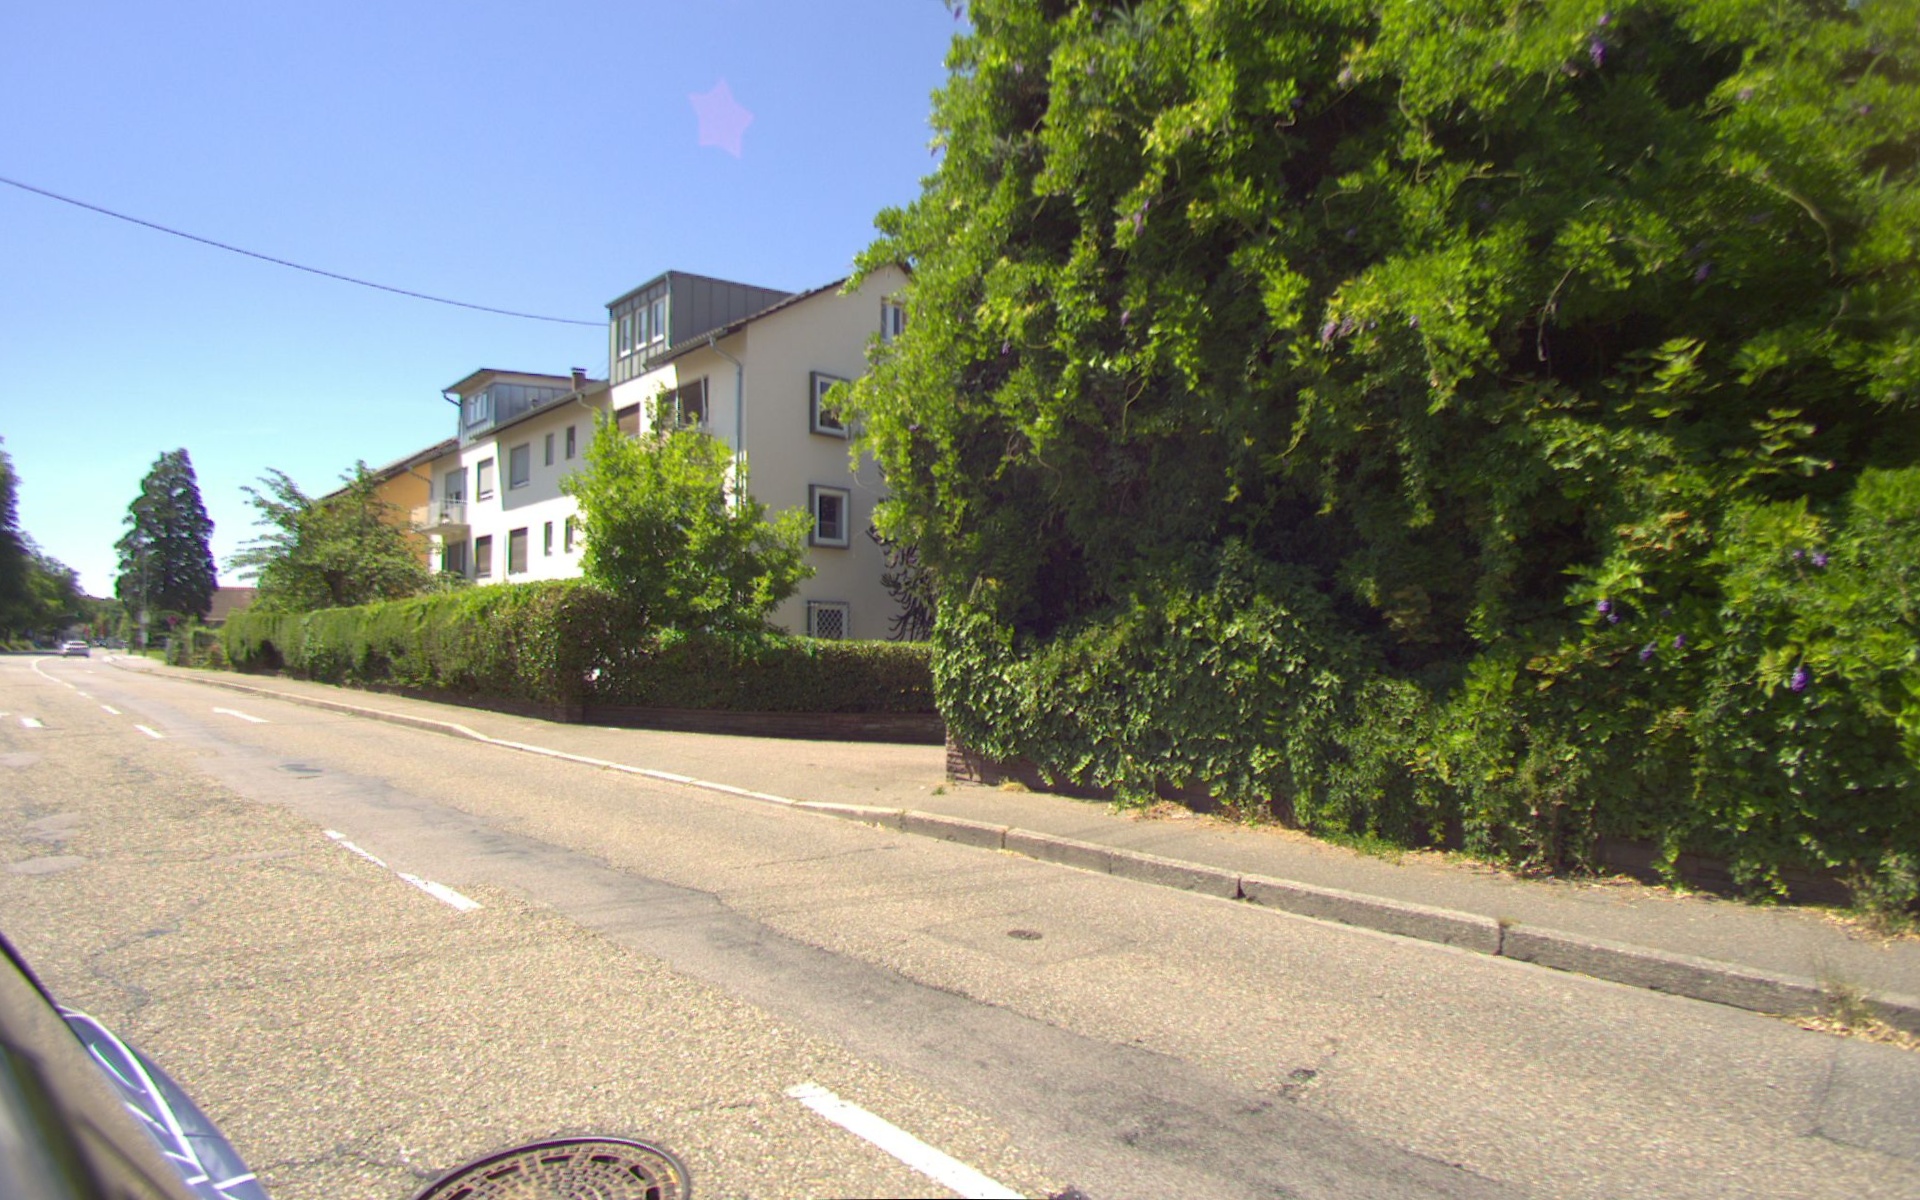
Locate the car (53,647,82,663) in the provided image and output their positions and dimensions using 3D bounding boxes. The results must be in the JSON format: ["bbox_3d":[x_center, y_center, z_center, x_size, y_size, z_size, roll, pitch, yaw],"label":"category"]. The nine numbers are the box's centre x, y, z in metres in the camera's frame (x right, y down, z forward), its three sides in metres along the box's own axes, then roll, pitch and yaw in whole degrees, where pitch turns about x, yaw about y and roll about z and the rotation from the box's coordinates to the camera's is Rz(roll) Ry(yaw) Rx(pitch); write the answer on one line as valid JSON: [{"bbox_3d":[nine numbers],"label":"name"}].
[{"bbox_3d":[-77.417,4.779,87.771,1.661,1.383,4.209,4,-5,-44],"label":"car"}]

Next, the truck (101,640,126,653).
[{"bbox_3d":[-157.563,8.665,188.422,2.580,2.258,6.276,1,-3,-30],"label":"truck"}]
